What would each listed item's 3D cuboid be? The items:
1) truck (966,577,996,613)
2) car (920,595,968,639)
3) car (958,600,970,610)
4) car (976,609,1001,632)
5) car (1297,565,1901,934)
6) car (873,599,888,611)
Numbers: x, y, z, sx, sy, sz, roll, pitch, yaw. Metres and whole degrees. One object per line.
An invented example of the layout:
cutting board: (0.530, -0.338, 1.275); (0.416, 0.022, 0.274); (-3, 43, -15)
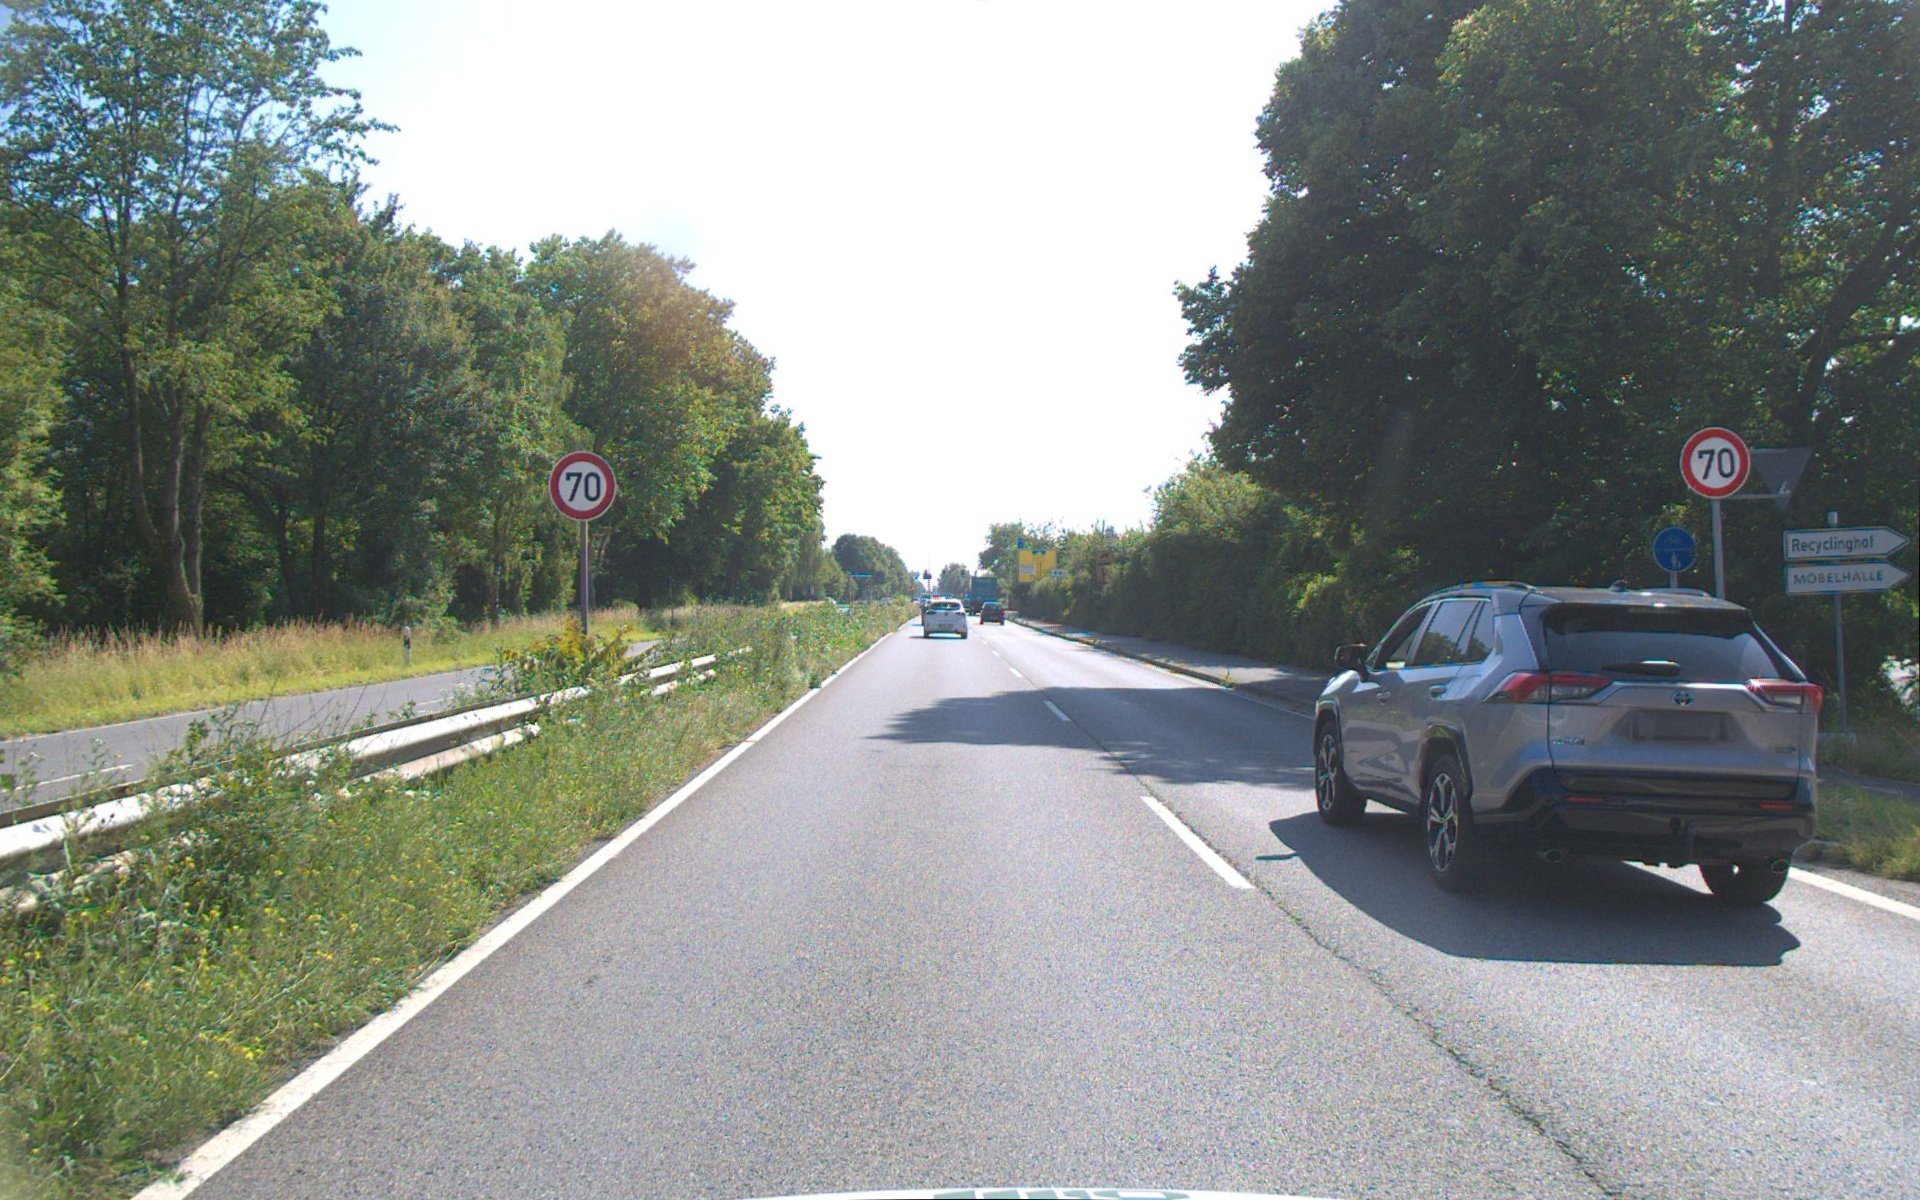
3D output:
truck: (2.052, -0.506, 164.934); (2.833, 3.488, 9.167); (0, 0, -1)
car: (-0.588, 0.640, 63.738); (1.762, 1.580, 4.000); (2, 0, 0)
car: (0.585, 0.744, 253.986); (1.775, 1.490, 4.460); (0, -1, 2)
car: (1.843, 1.327, 108.501); (1.540, 1.439, 3.277); (1, -1, 0)
car: (3.570, 0.727, 10.334); (1.863, 1.709, 4.682); (2, 0, -1)
car: (-11.026, 0.688, 230.673); (1.742, 1.557, 4.162); (0, 0, 2)
